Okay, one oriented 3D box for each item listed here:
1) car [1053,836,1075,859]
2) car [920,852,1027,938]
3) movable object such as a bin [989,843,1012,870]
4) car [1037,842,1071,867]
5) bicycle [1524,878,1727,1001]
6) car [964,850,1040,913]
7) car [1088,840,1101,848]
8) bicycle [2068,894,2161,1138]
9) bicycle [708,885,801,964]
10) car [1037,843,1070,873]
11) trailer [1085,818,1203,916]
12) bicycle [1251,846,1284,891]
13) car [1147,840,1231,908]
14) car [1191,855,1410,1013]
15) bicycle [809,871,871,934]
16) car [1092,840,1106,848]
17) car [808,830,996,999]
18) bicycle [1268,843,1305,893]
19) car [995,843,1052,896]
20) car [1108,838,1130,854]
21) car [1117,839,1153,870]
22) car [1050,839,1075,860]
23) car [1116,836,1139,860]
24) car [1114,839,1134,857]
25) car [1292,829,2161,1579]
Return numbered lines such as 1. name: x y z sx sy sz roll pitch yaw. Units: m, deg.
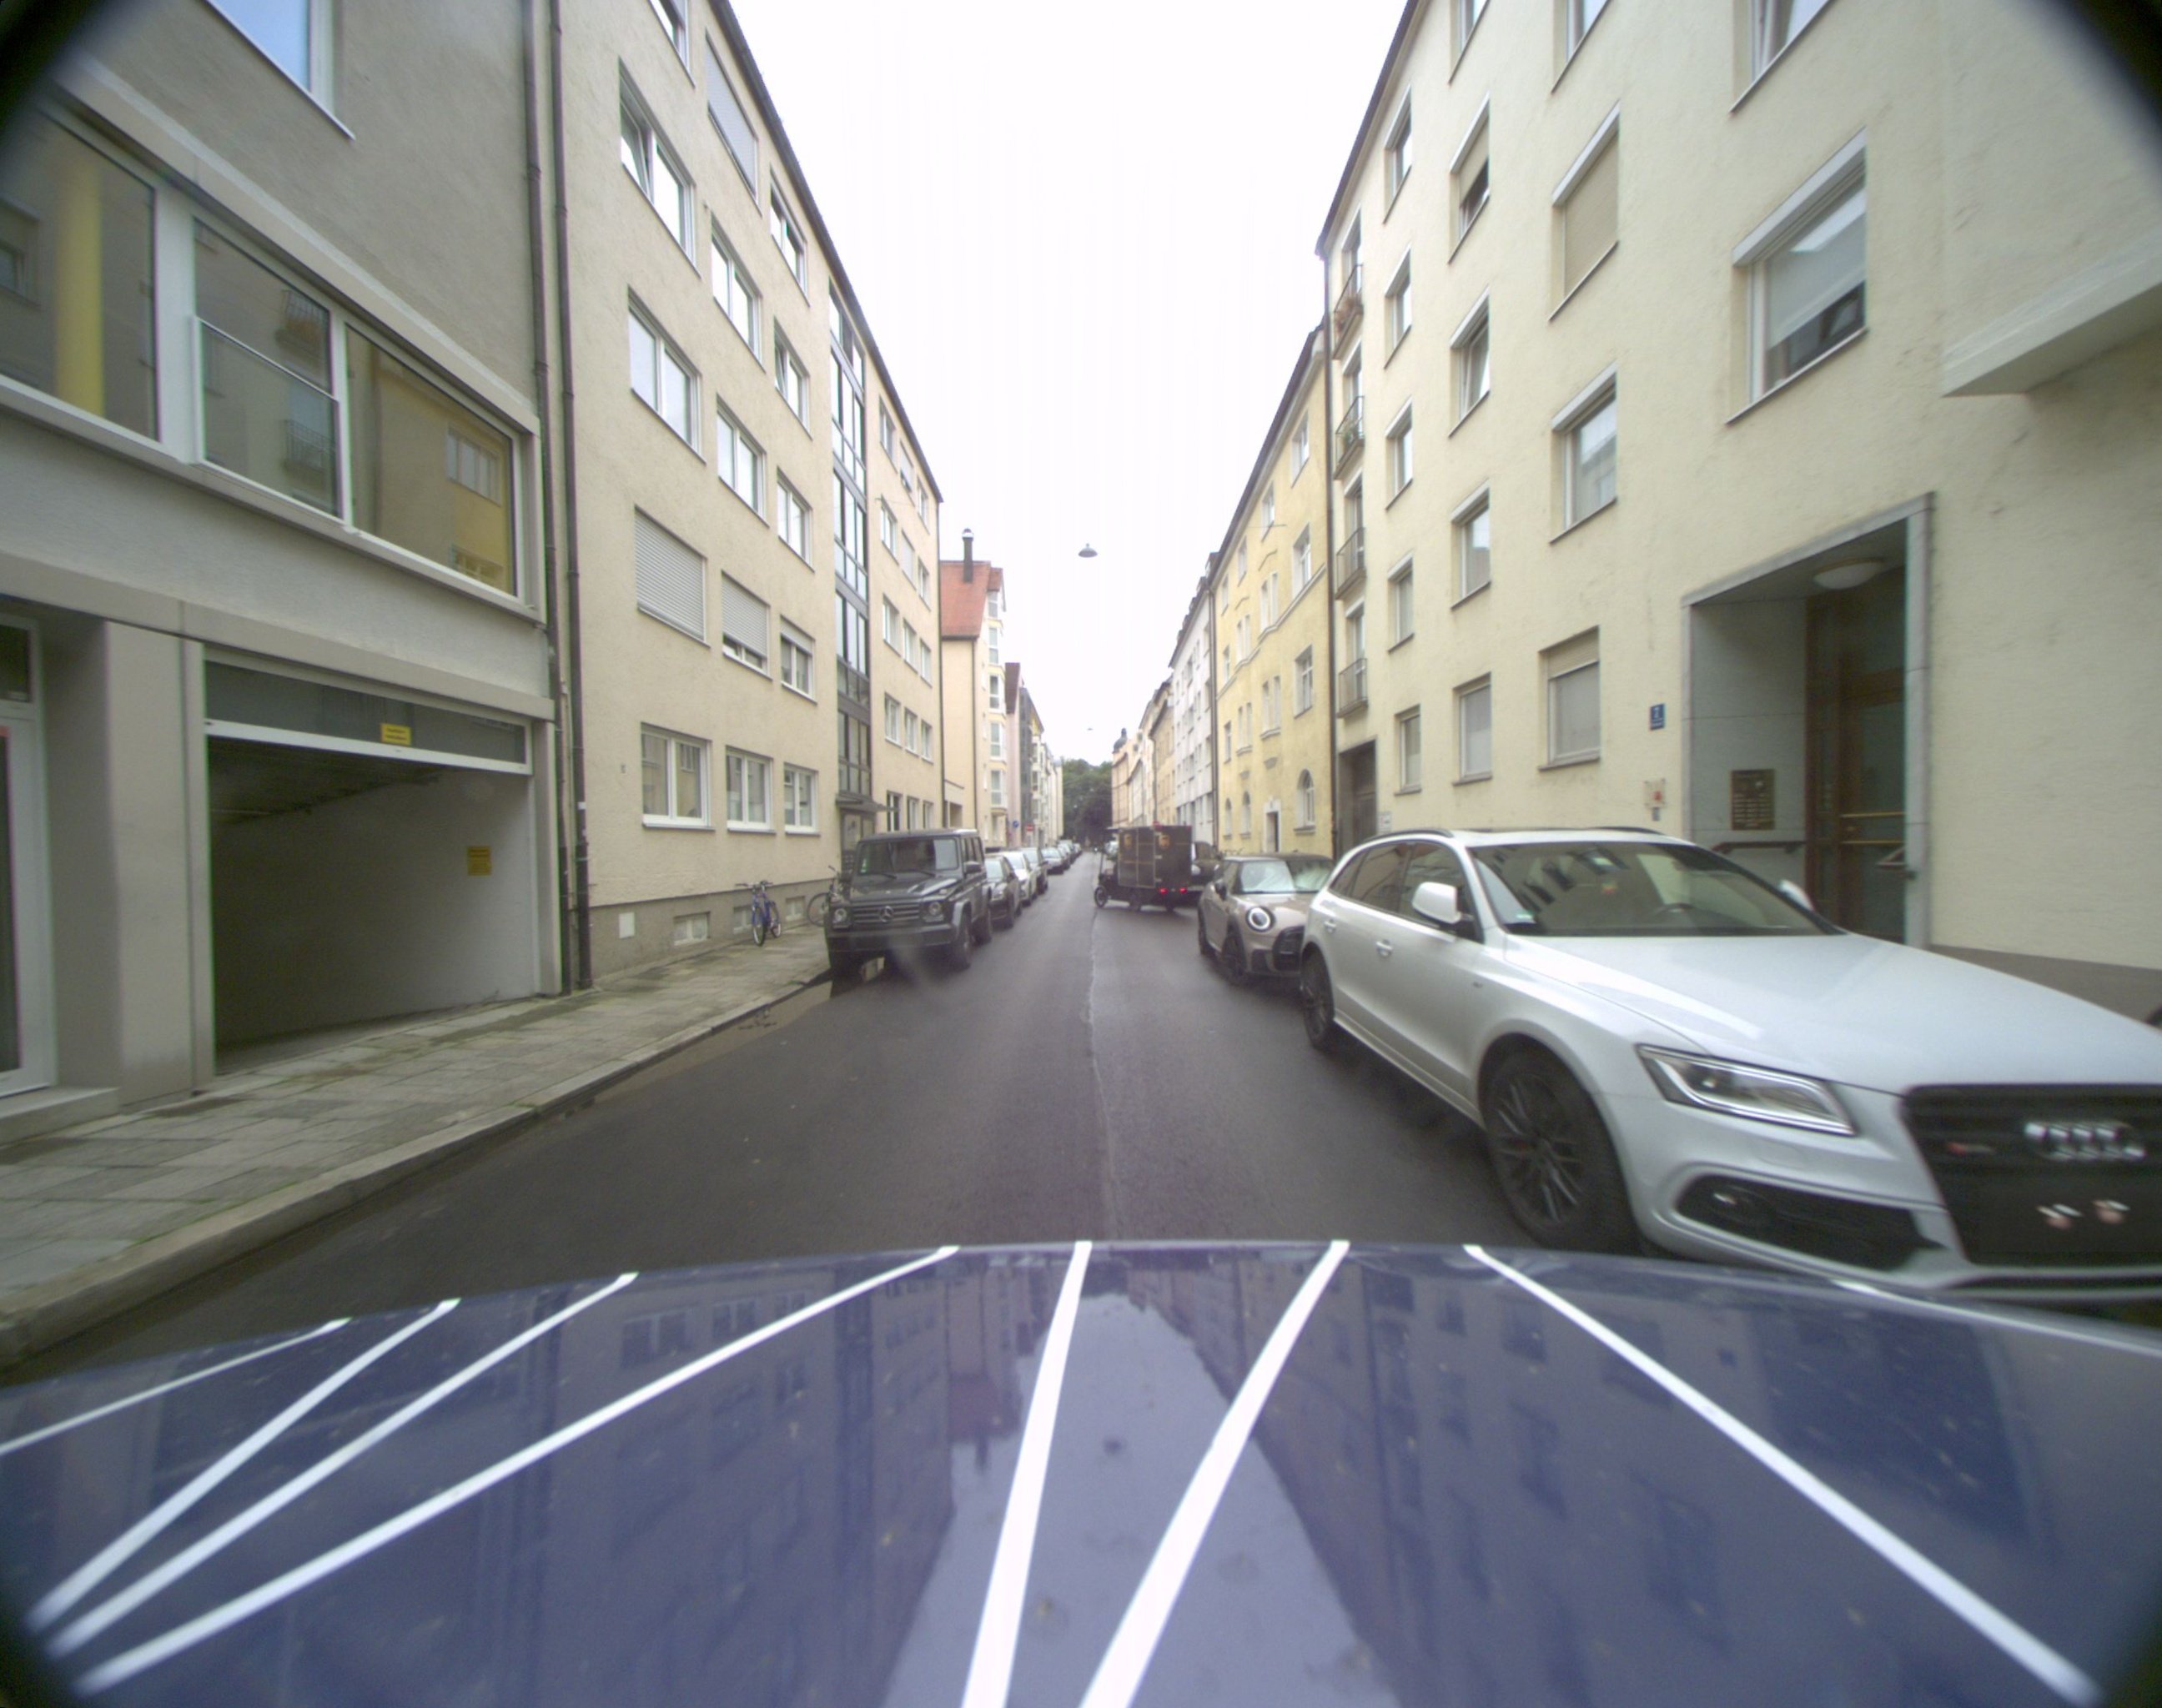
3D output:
1. car: -1.597 -0.674 72.365 1.877 2.002 5.105 -2 2 0
2. car: -2.180 0.774 16.552 1.716 1.477 4.242 -2 2 -1
3. movable object such as a bin: -4.392 0.141 41.626 1.034 1.415 1.586 1 2 1
4. car: -1.637 0.009 47.957 1.837 1.398 4.410 -2 2 1
5. bicycle: 5.459 0.803 7.779 0.732 1.021 1.813 -2 1 -1
6. car: -2.163 0.693 21.770 1.716 1.477 4.242 -2 2 -1
7. car: 2.629 -2.032 148.325 1.800 1.502 3.995 1 1 -10
8. bicycle: 5.493 0.810 3.100 0.582 1.155 1.789 1 1 2
9. bicycle: -5.119 1.067 12.028 0.646 1.023 1.796 2 2 1
10. car: -1.522 0.160 42.573 1.721 1.463 4.529 -2 2 -2
11. trailer: 1.432 0.247 18.293 1.361 2.104 3.311 -3 2 -24
12. bicycle: 5.616 0.409 22.926 0.536 1.271 1.551 -4 2 0
13. car: 2.856 0.455 20.952 1.883 1.650 4.414 0 1 3
14. car: 2.385 0.782 9.225 1.656 1.427 3.802 0 1 2
15. bicycle: -4.874 0.956 15.502 0.656 1.100 1.760 2 2 1
16. car: 3.372 -1.916 144.127 1.800 1.502 3.995 1 1 -10
17. car: -2.438 0.725 11.514 1.755 1.964 4.342 -4 1 -1
18. bicycle: 5.678 0.371 21.074 0.536 1.272 1.551 -4 3 0
19. car: -1.956 0.479 27.086 1.716 1.599 4.242 -2 2 -1
20. car: 3.773 -0.815 76.072 1.786 1.596 4.306 1 1 -2
21. car: 3.309 -0.031 47.224 1.867 1.760 4.734 1 2 0
22. car: -1.464 -0.404 61.785 1.837 1.612 4.409 -2 2 0
23. car: 3.709 -0.491 61.026 1.728 1.779 4.248 1 2 3
24. car: 3.724 -0.529 66.374 1.676 1.467 4.111 1 1 2
25. car: 2.540 0.729 3.843 1.770 1.666 4.366 0 1 1
